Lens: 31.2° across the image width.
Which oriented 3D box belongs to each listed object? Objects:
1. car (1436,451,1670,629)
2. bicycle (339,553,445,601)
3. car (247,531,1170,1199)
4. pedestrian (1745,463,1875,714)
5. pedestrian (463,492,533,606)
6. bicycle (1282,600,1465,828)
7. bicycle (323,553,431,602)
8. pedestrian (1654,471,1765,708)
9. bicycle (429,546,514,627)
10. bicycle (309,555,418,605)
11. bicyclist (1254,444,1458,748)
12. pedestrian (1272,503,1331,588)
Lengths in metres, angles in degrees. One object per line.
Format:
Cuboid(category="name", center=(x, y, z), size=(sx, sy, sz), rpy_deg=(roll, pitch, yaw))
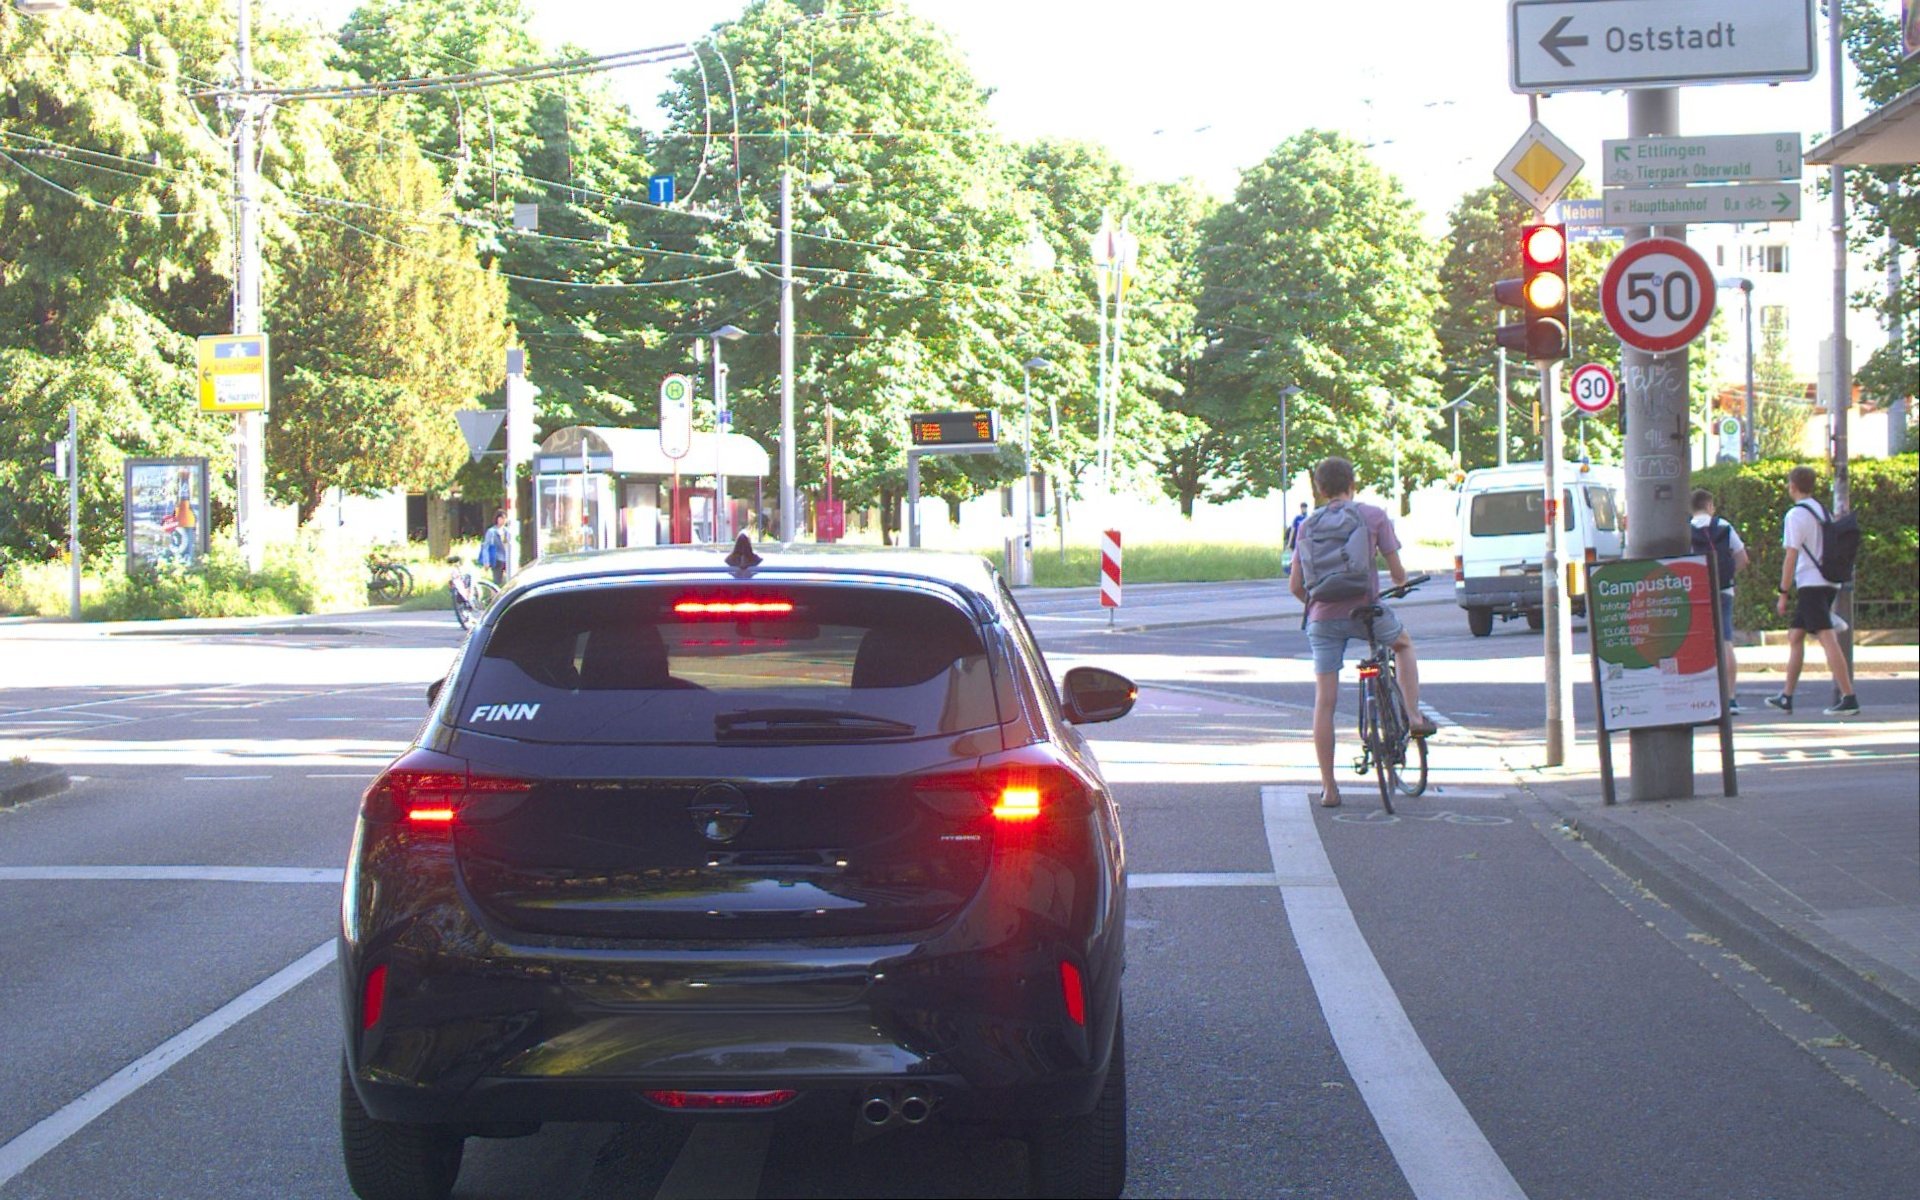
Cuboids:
Cuboid(category="car", center=(7.994, -0.787, 46.029), size=(2.092, 2.270, 4.301), rpy_deg=(1, 1, 24))
Cuboid(category="bicycle", center=(-10.854, -0.441, 65.703), size=(1.877, 0.903, 0.659), rpy_deg=(0, 1, 7))
Cuboid(category="car", center=(-0.460, 0.563, 8.717), size=(1.800, 1.436, 3.940), rpy_deg=(-1, 1, 1))
Cuboid(category="pedestrian", center=(6.348, -0.098, 25.664), size=(0.704, 1.840, 0.699), rpy_deg=(0, 2, 39))
Cuboid(category="pedestrian", center=(-6.902, -0.768, 51.377), size=(0.727, 1.687, 0.699), rpy_deg=(0, 2, 39))
Cuboid(category="bicycle", center=(2.112, 0.555, 17.776), size=(0.667, 1.056, 2.082), rpy_deg=(0, 1, -1))
Cuboid(category="bicycle", center=(-10.993, -0.434, 64.832), size=(1.877, 0.903, 0.659), rpy_deg=(0, 1, 7))
Cuboid(category="pedestrian", center=(5.730, -0.085, 26.293), size=(0.698, 1.786, 0.617), rpy_deg=(-1, 1, -1))
Cuboid(category="bicycle", center=(-6.615, -0.189, 46.641), size=(0.825, 1.056, 1.883), rpy_deg=(0, 1, 2))
Cuboid(category="bicycle", center=(-11.077, -0.365, 63.848), size=(1.877, 0.903, 0.659), rpy_deg=(0, 1, 7))
Cuboid(category="bicyclist", center=(2.028, -0.035, 17.779), size=(0.840, 1.504, 1.369), rpy_deg=(0, 1, -2))
Cuboid(category="pedestrian", center=(7.242, -1.157, 72.924), size=(0.959, 1.786, 0.994), rpy_deg=(0, 1, 25))
